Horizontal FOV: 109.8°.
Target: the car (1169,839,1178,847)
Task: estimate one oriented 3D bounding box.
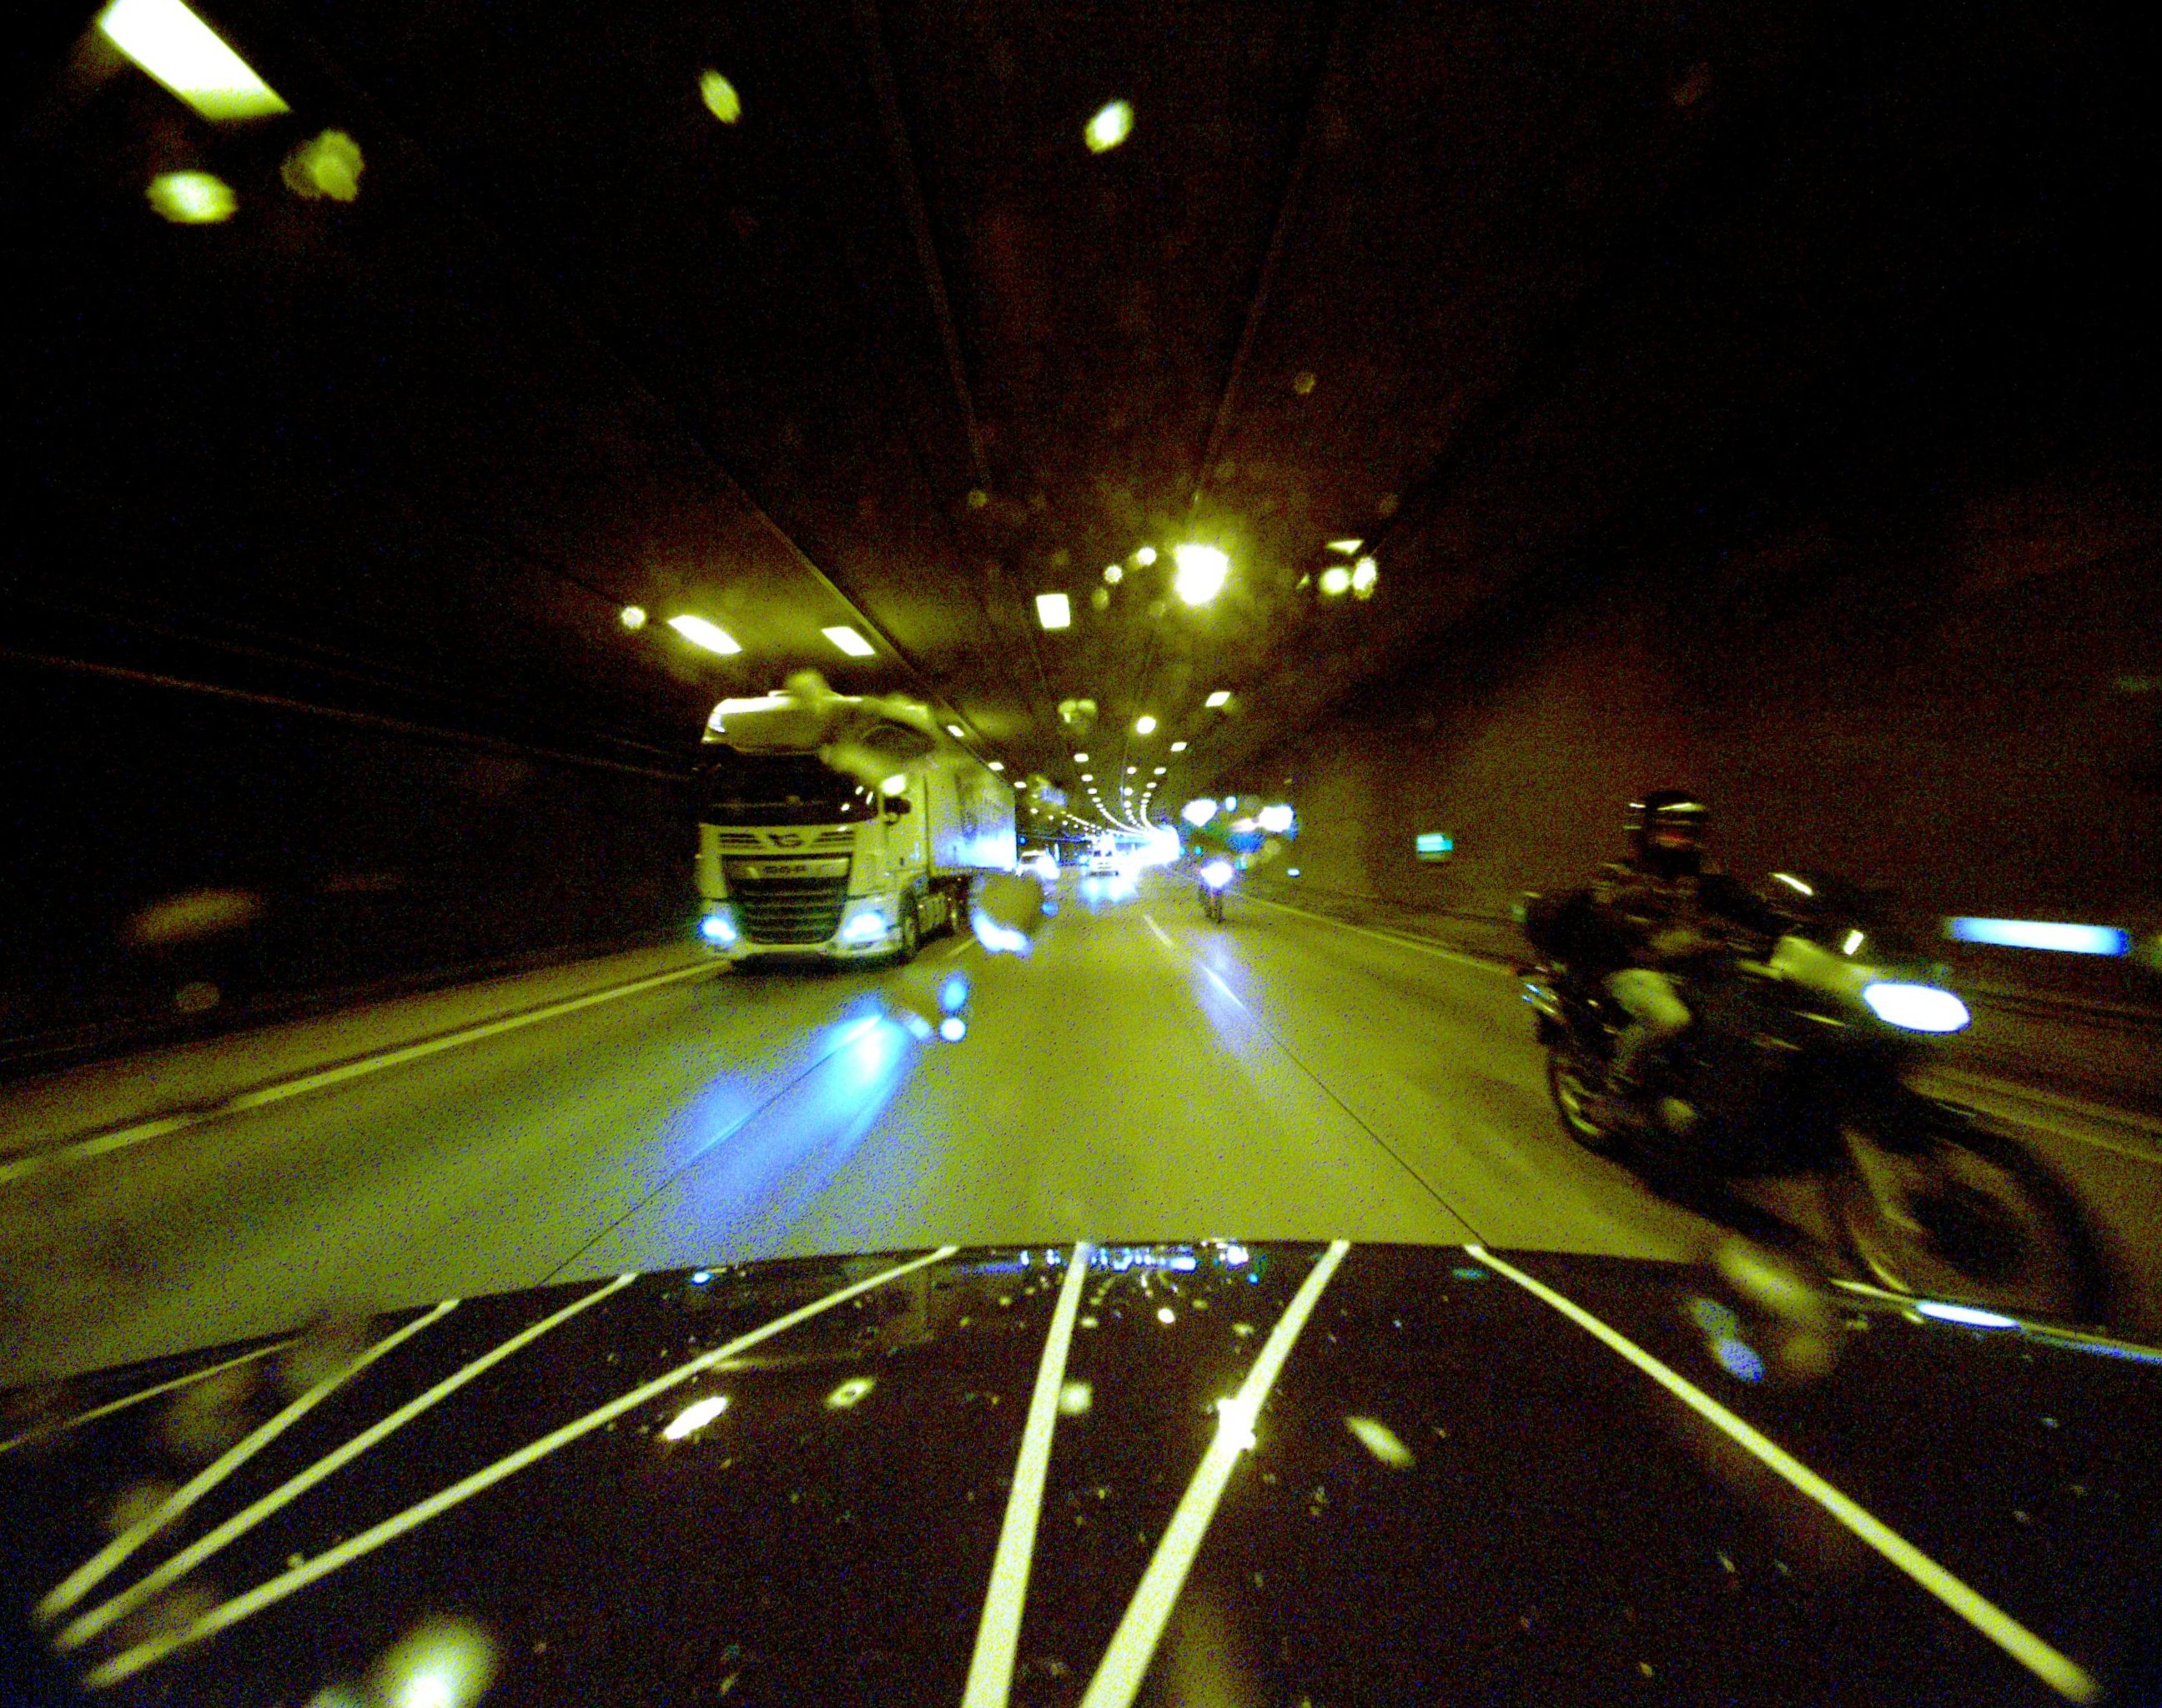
[{"bbox_3d":[25.105,-2.970,205.799,1.997,1.788,4.003,-3,1,12],"label":"car"}]

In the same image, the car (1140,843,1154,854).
[{"bbox_3d":[11.985,-1.013,137.919,1.997,1.788,4.002,-3,1,10],"label":"car"}]

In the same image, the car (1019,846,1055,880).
[{"bbox_3d":[-2.555,0.495,45.248,1.840,1.849,4.287,-2,1,0],"label":"car"}]

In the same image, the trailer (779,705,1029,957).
[{"bbox_3d":[-3.485,-0.441,19.921,2.627,4.139,14.001,-3,0,2],"label":"trailer"}]

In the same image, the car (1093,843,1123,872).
[{"bbox_3d":[1.900,0.205,53.472,1.998,1.890,4.000,-2,0,2],"label":"car"}]

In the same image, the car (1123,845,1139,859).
[{"bbox_3d":[7.226,-0.294,109.791,1.998,1.788,4.001,-3,1,6],"label":"car"}]

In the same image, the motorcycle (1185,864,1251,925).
[{"bbox_3d":[2.949,0.847,16.639,1.056,1.151,2.428,-2,1,2],"label":"motorcycle"}]

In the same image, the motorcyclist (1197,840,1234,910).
[{"bbox_3d":[2.926,0.442,16.619,0.628,1.481,0.890,-2,1,1],"label":"motorcyclist"}]

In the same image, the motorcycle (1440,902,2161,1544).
[{"bbox_3d":[2.499,0.921,3.023,0.848,1.238,2.604,-2,1,-1],"label":"motorcycle"}]

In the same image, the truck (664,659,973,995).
[{"bbox_3d":[-3.756,-0.350,12.636,2.652,4.139,6.005,-3,1,2],"label":"truck"}]

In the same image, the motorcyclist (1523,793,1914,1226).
[{"bbox_3d":[2.451,0.535,3.038,0.841,1.469,0.821,-2,1,-1],"label":"motorcyclist"}]

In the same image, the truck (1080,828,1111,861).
[{"bbox_3d":[1.919,-1.234,95.571,2.899,3.820,9.000,-3,1,7],"label":"truck"}]
